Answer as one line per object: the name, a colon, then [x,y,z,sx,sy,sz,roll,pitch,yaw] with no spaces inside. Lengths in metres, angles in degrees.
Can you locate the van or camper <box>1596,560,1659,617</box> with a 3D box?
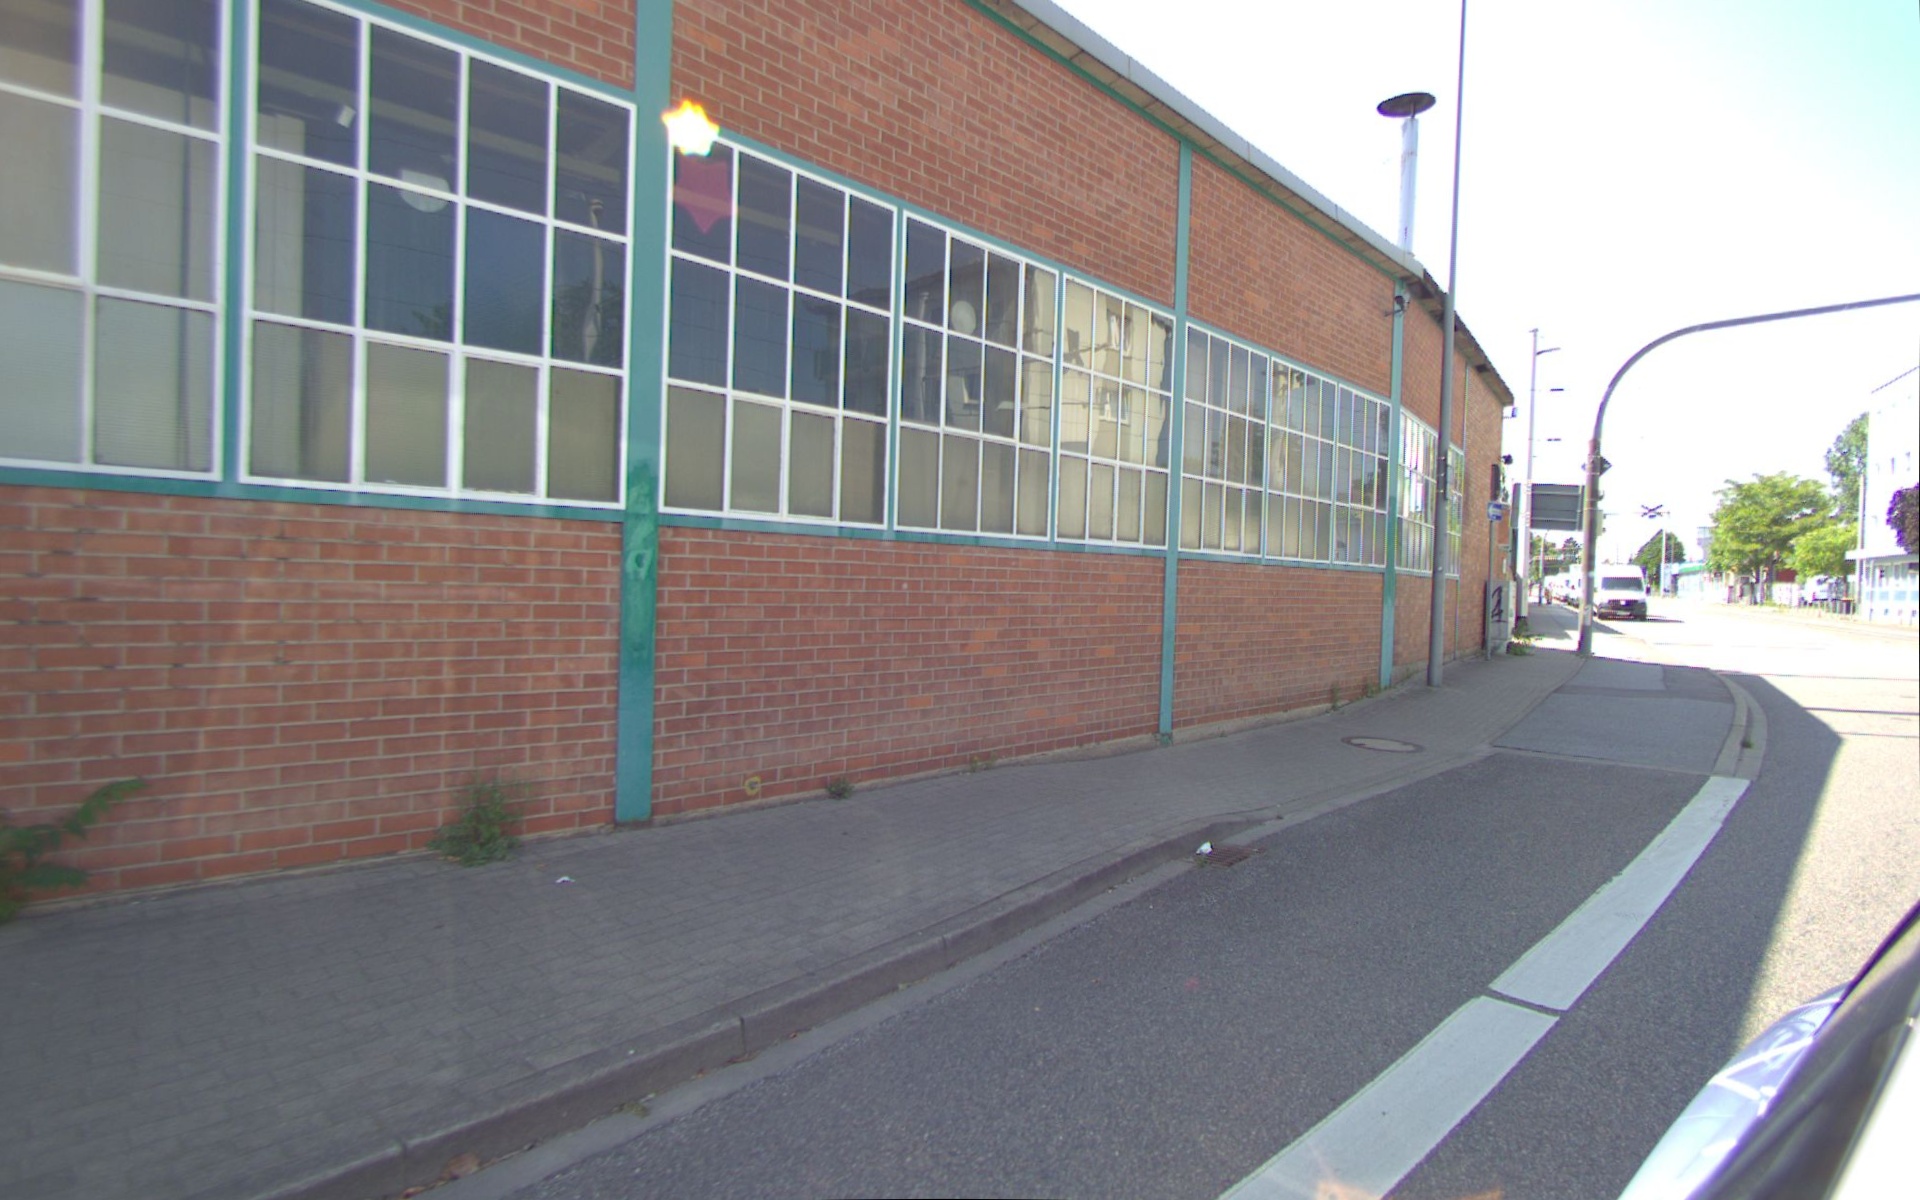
van or camper: [32.258,-0.588,49.077,2.026,2.565,5.810,2,2,29]

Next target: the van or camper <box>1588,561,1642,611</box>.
van or camper: [35.600,-0.788,55.127,2.026,2.565,5.525,2,2,29]

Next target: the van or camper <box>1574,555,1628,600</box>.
van or camper: [43.170,-1.501,68.282,2.502,2.821,7.046,2,2,28]
